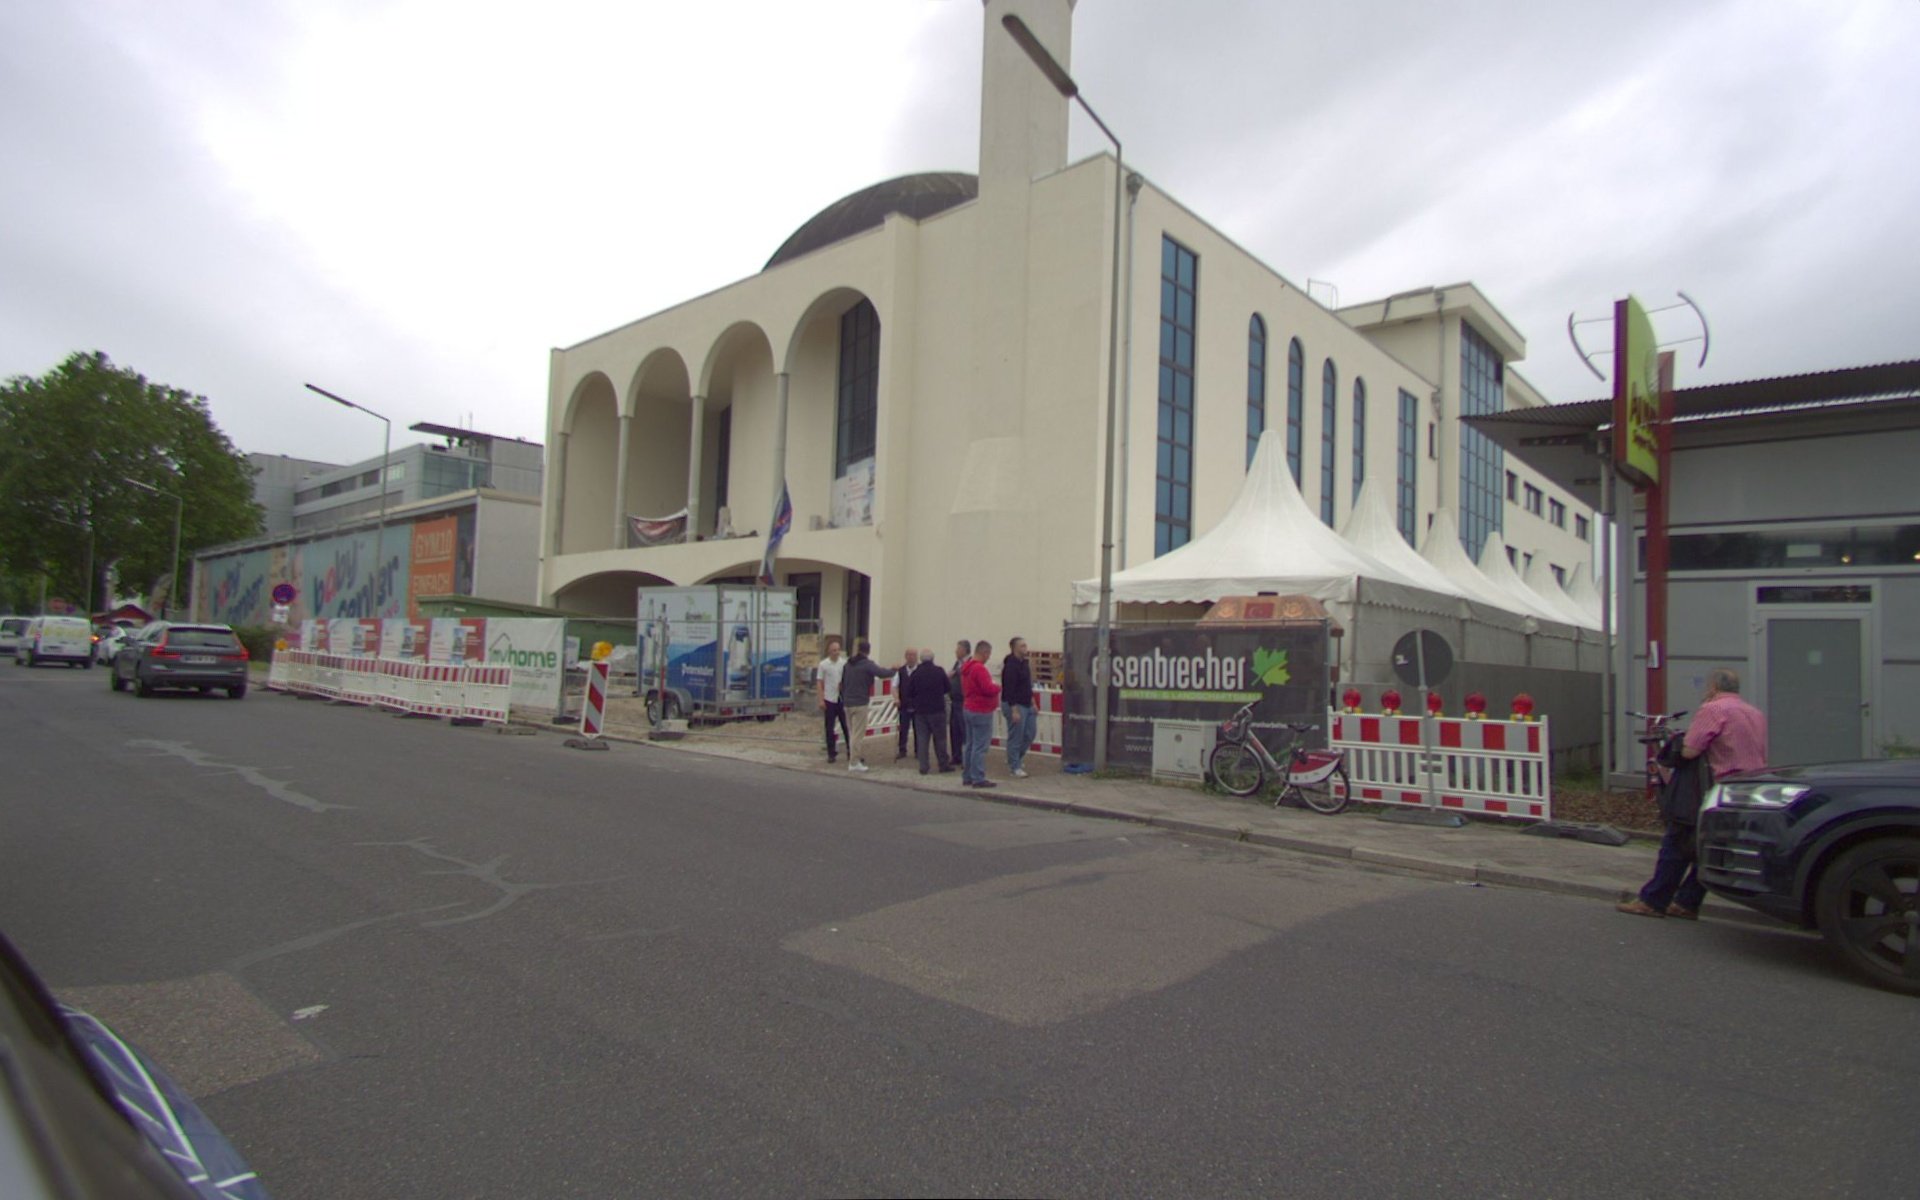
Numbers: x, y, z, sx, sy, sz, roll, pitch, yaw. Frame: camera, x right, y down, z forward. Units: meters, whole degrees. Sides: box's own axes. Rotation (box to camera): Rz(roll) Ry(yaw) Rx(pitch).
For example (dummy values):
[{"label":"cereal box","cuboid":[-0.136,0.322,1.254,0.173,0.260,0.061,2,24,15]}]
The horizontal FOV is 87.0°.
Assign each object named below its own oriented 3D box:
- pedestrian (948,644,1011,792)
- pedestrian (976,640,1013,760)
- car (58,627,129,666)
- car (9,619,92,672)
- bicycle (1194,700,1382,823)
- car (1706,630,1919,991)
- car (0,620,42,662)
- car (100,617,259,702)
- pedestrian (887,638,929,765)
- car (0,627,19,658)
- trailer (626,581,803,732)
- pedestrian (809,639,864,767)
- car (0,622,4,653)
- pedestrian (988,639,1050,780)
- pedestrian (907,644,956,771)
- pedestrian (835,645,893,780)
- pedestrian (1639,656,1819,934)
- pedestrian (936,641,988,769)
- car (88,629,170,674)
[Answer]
[{"label":"pedestrian","cuboid":[0.237,1.388,12.078,0.512,1.706,0.527,-4,-4,31]},{"label":"pedestrian","cuboid":[0.489,1.408,14.373,0.484,1.623,0.540,1,2,3]},{"label":"car","cuboid":[-39.822,2.116,46.463,4.150,1.586,1.903,-1,-8,43]},{"label":"car","cuboid":[-32.734,1.633,36.381,4.133,1.774,1.672,-1,-5,42]},{"label":"bicycle","cuboid":[3.495,1.690,10.927,0.537,1.086,1.904,4,-3,-41]},{"label":"car","cuboid":[6.321,1.082,4.435,4.729,1.704,1.845,-1,-8,43]},{"label":"car","cuboid":[-44.070,1.853,46.859,4.382,1.821,1.776,0,-5,42]},{"label":"car","cuboid":[-17.526,1.309,22.651,4.494,1.697,1.912,-1,-6,42]},{"label":"pedestrian","cuboid":[-0.738,1.444,14.495,0.521,1.763,0.490,-2,-3,1]},{"label":"car","cuboid":[-51.290,2.207,53.622,3.946,1.584,1.710,-1,-6,43]},{"label":"trailer","cuboid":[-4.732,1.075,19.351,1.777,2.627,3.193,6,-5,-44]},{"label":"pedestrian","cuboid":[-1.752,1.454,14.395,0.682,1.763,0.490,-2,-3,1]},{"label":"car","cuboid":[-67.798,2.523,70.094,4.956,2.029,1.906,0,-4,43]},{"label":"pedestrian","cuboid":[0.745,1.377,12.973,0.686,1.731,0.687,-2,-3,-1]},{"label":"pedestrian","cuboid":[-0.386,1.410,13.383,0.563,1.624,0.491,-1,-3,-5]},{"label":"pedestrian","cuboid":[-1.288,1.496,13.623,0.682,1.763,0.490,-2,-3,1]},{"label":"pedestrian","cuboid":[4.957,1.225,6.572,0.667,1.634,0.652,4,-6,6]},{"label":"pedestrian","cuboid":[0.032,1.432,13.898,0.568,1.706,0.408,-3,-3,18]},{"label":"car","cuboid":[-33.546,2.076,40.809,4.150,1.586,1.903,-1,-8,43]}]
